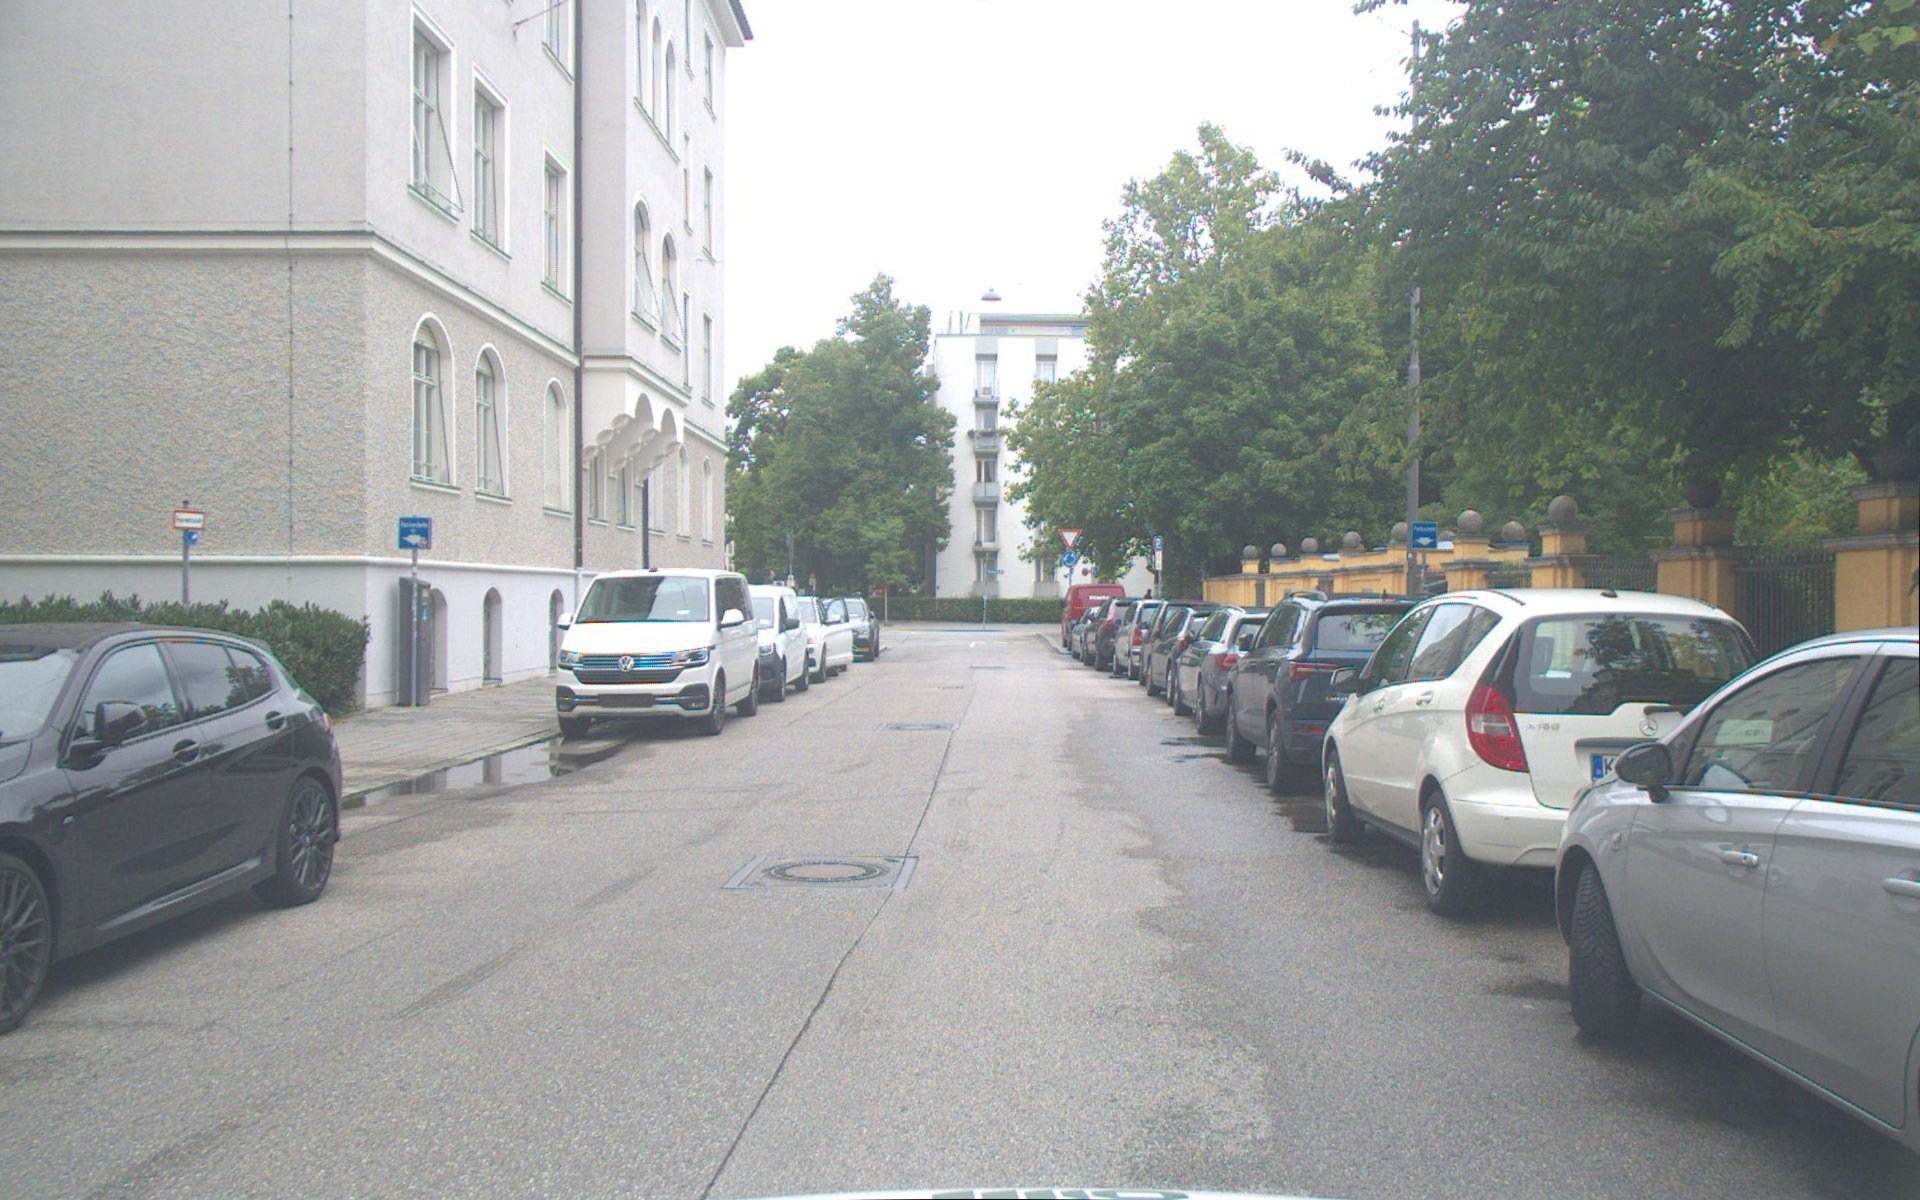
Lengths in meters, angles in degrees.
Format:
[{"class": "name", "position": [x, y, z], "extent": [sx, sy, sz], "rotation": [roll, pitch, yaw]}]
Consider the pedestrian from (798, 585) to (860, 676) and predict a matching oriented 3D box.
[{"class": "pedestrian", "position": [-2.624, 0.591, 33.075], "extent": [0.951, 1.786, 0.868], "rotation": [1, 0, -29]}]

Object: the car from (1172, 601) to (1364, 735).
[{"class": "car", "position": [3.633, 0.739, 20.220], "extent": [1.657, 1.439, 4.517], "rotation": [0, 0, 2]}]

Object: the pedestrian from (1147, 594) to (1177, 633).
[{"class": "pedestrian", "position": [7.031, 0.460, 57.647], "extent": [0.988, 1.361, 0.877], "rotation": [0, 0, 4]}]

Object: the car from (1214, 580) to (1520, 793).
[{"class": "car", "position": [3.411, 0.641, 14.747], "extent": [1.677, 1.598, 4.692], "rotation": [0, 0, 1]}]

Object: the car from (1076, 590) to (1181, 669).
[{"class": "car", "position": [3.882, 0.637, 38.802], "extent": [1.846, 1.682, 4.823], "rotation": [2, 0, -1]}]

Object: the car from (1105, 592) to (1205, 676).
[{"class": "car", "position": [3.947, 0.647, 33.918], "extent": [1.454, 1.566, 3.691], "rotation": [2, 0, -2]}]

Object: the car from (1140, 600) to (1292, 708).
[{"class": "car", "position": [3.830, 0.765, 25.374], "extent": [1.657, 1.439, 4.036], "rotation": [2, 0, 0]}]

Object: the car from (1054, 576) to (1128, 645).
[{"class": "car", "position": [3.967, 0.300, 50.634], "extent": [1.835, 1.954, 4.887], "rotation": [2, 0, 0]}]

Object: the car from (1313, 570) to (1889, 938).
[{"class": "car", "position": [3.250, 0.663, 9.363], "extent": [1.677, 1.598, 4.321], "rotation": [0, 0, 1]}]

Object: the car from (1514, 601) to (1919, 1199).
[{"class": "car", "position": [3.052, 0.749, 4.642], "extent": [1.677, 1.479, 4.184], "rotation": [0, 0, 1]}]

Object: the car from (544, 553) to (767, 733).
[{"class": "car", "position": [-3.664, 0.471, 20.816], "extent": [1.818, 1.972, 4.958], "rotation": [-1, 0, 1]}]

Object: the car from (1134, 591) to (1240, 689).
[{"class": "car", "position": [4.001, 0.675, 29.486], "extent": [1.477, 1.593, 2.870], "rotation": [2, 0, 1]}]

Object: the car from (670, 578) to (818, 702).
[{"class": "car", "position": [-3.457, 0.593, 27.323], "extent": [1.711, 1.819, 5.037], "rotation": [-1, 0, 1]}]

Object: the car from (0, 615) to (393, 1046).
[{"class": "car", "position": [-4.186, 0.826, 7.211], "extent": [1.817, 1.437, 4.380], "rotation": [-1, 0, 1]}]

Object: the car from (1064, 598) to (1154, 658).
[{"class": "car", "position": [3.989, 0.715, 44.900], "extent": [1.846, 1.474, 4.367], "rotation": [2, 0, -2]}]

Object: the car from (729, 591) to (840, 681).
[{"class": "car", "position": [-3.405, 0.660, 32.788], "extent": [1.711, 1.630, 4.496], "rotation": [-1, 0, 0]}]

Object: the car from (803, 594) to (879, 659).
[{"class": "car", "position": [-3.166, 0.681, 44.645], "extent": [1.711, 1.630, 4.496], "rotation": [-1, 0, 0]}]
